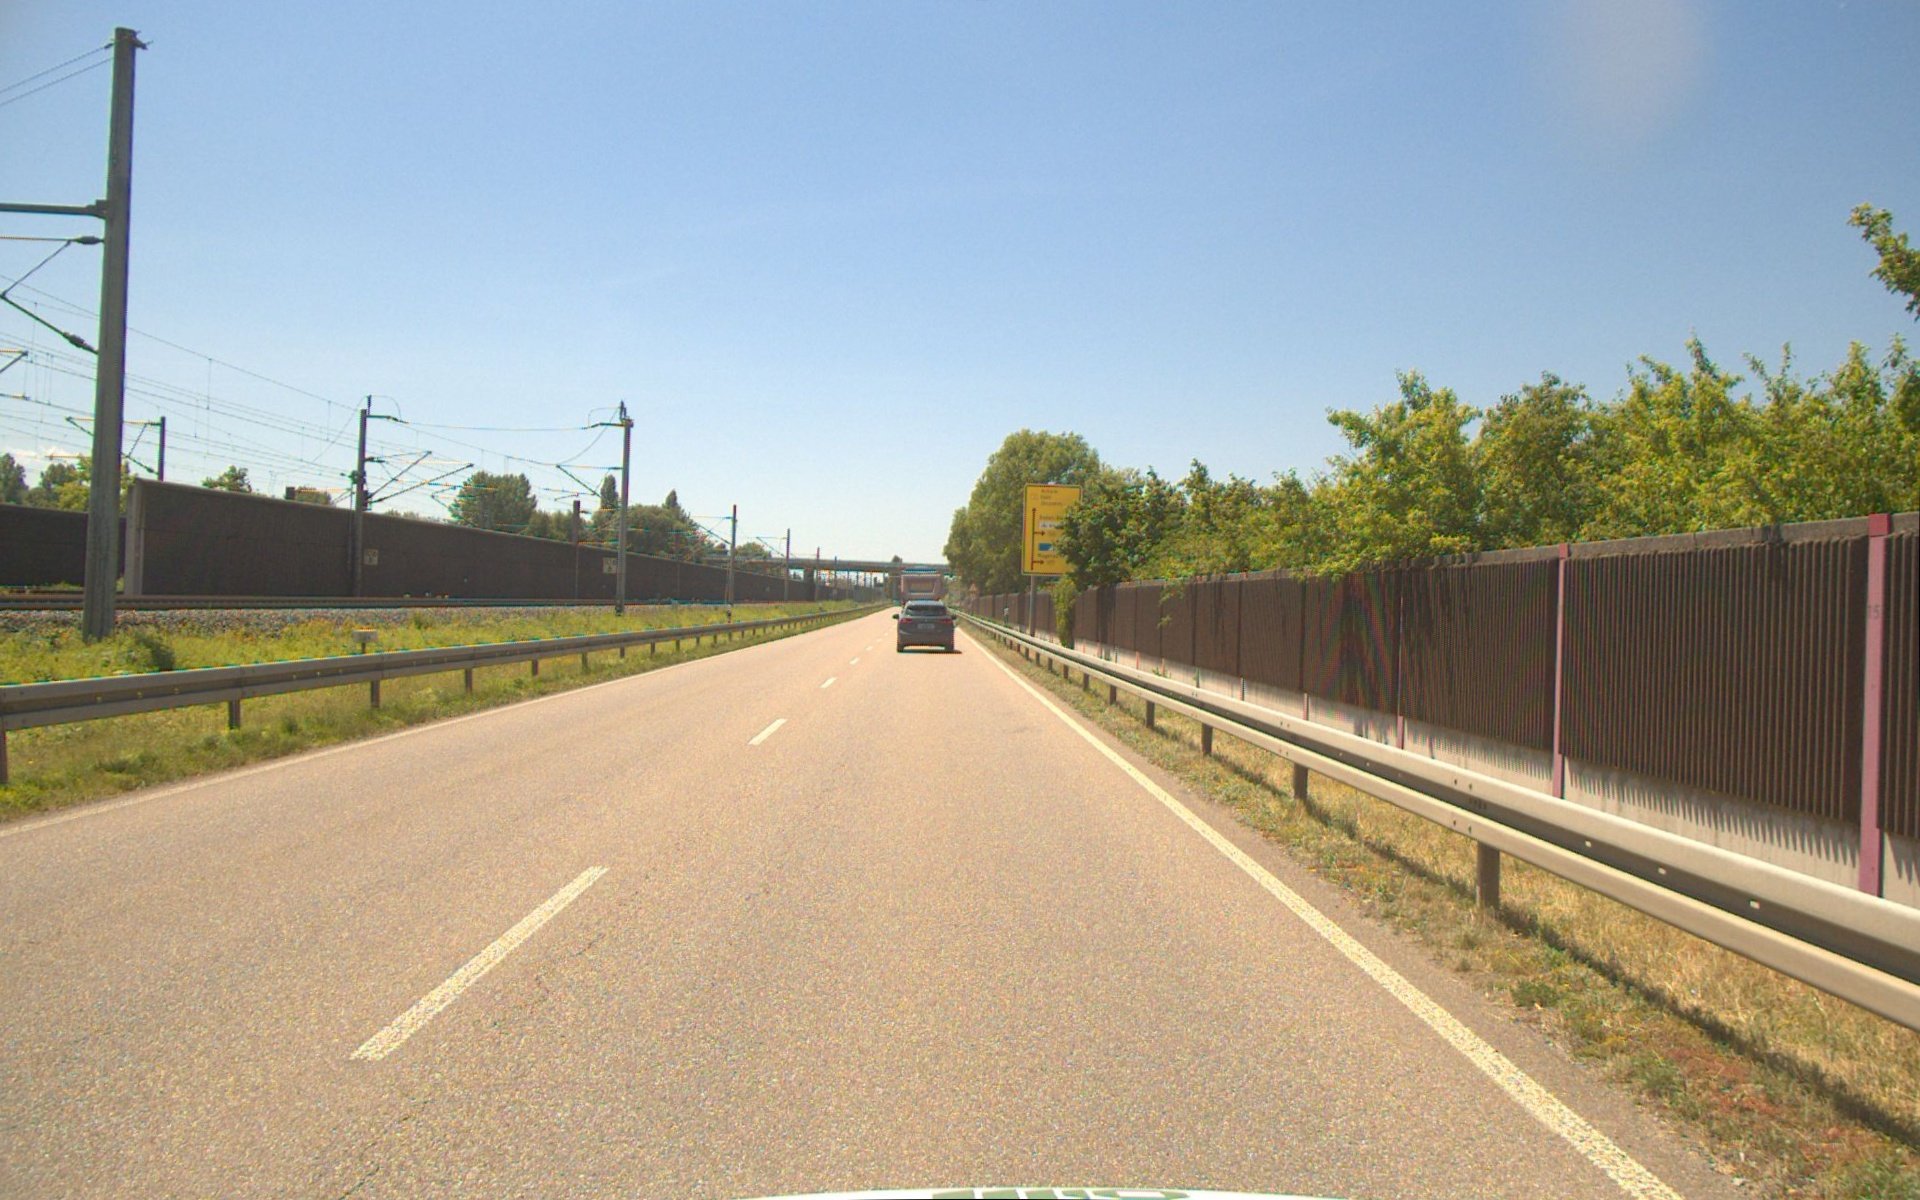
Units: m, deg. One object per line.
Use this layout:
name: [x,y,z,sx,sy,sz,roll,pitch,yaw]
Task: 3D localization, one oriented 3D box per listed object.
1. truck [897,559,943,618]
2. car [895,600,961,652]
truck: [-2.512,-0.661,104.268,2.714,3.485,10.816,1,0,-1]
car: [-1.050,0.787,52.134,1.954,1.534,3.997,0,0,-3]
